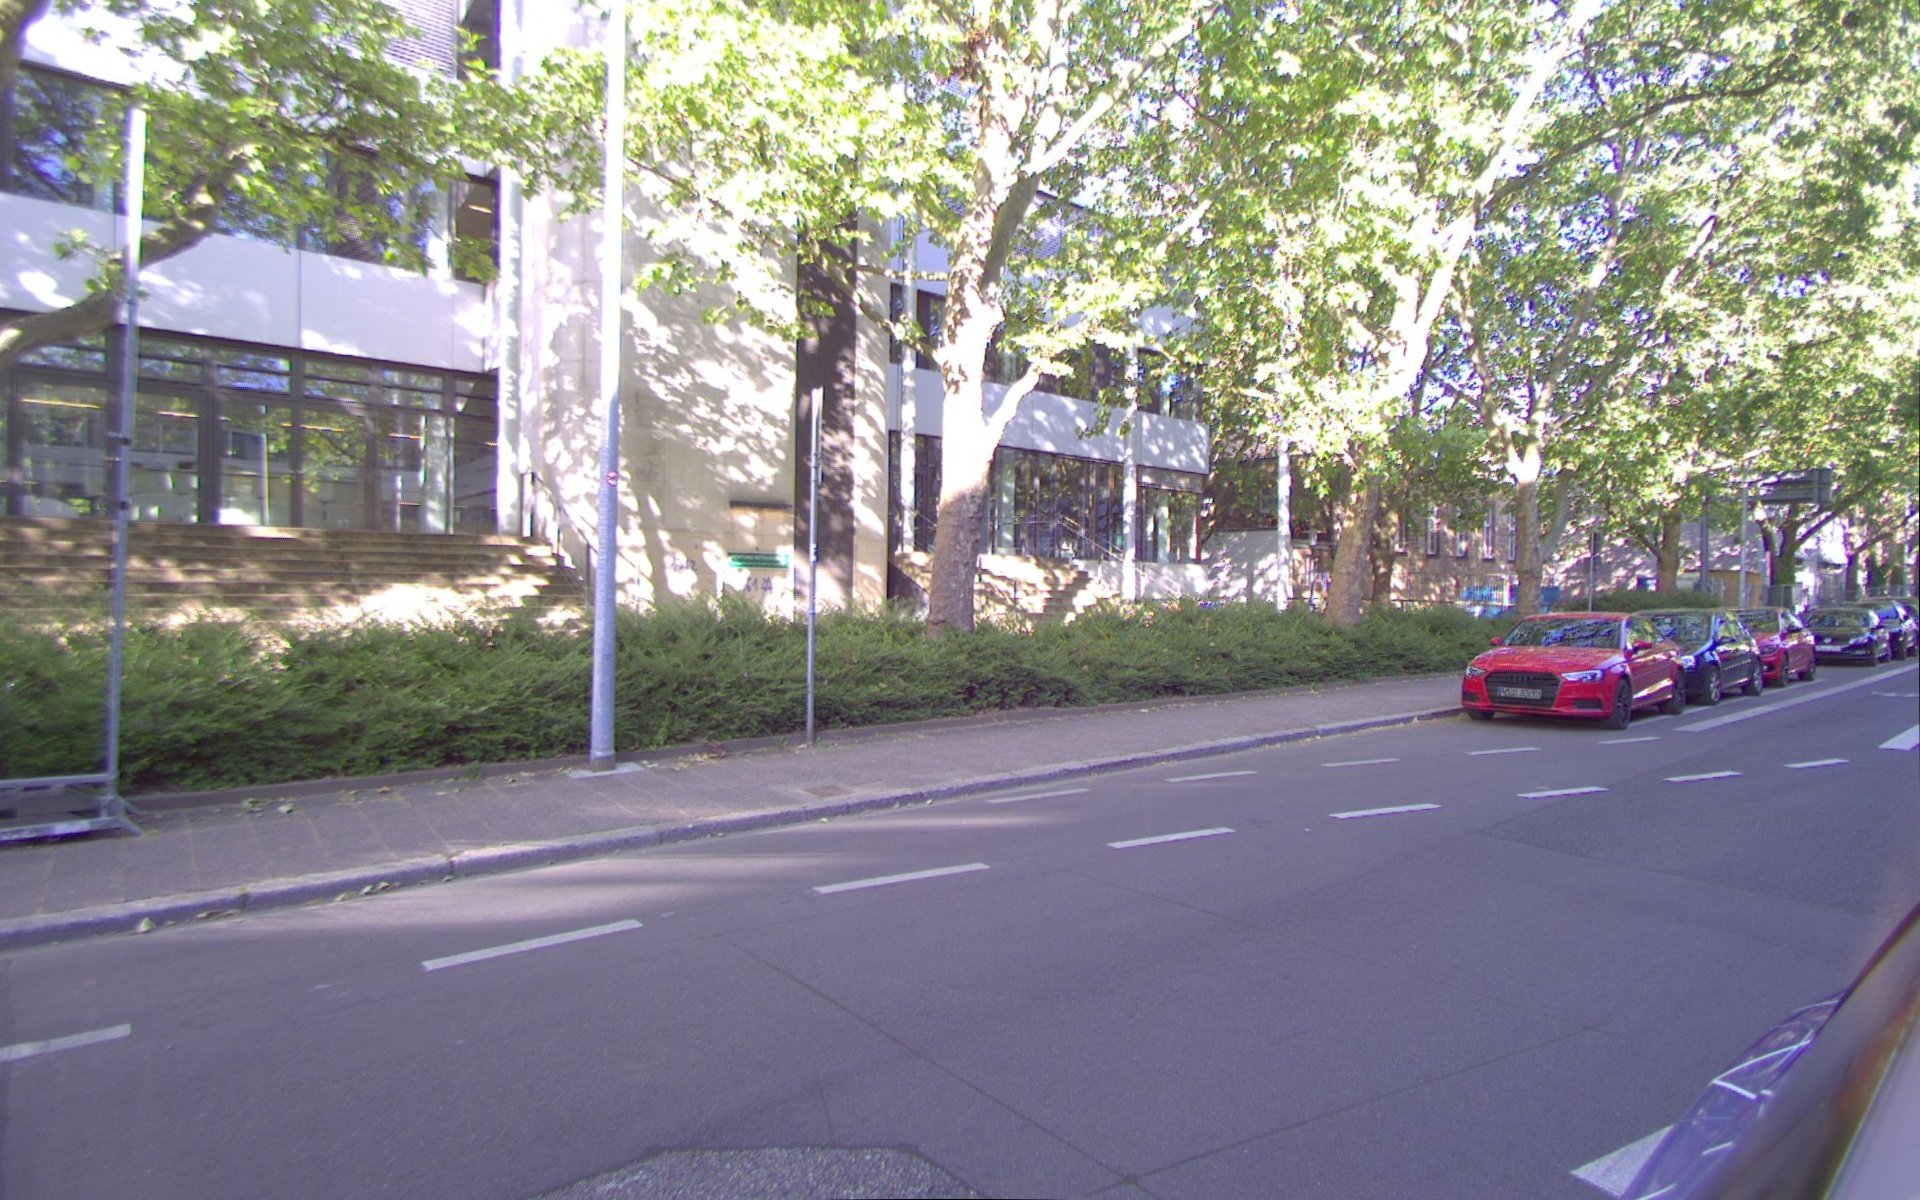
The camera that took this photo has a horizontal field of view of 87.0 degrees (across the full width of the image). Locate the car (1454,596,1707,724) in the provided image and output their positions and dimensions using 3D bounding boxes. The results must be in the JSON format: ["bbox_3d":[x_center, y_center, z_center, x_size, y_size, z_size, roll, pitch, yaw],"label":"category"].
[{"bbox_3d":[8.349,0.678,13.480,4.101,1.443,1.773,0,-1,-42],"label":"car"}]

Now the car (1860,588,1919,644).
[{"bbox_3d":[31.082,0.477,33.045,4.188,1.747,1.997,-1,0,-41],"label":"car"}]

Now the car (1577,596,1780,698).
[{"bbox_3d":[11.972,0.680,16.781,3.929,1.475,1.812,0,1,-40],"label":"car"}]

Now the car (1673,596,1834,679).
[{"bbox_3d":[15.721,0.658,19.987,3.930,1.456,1.789,0,1,-41],"label":"car"}]

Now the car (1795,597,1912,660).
[{"bbox_3d":[22.983,0.677,25.988,3.930,1.456,1.744,0,1,-41],"label":"car"}]

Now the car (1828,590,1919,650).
[{"bbox_3d":[26.647,0.520,29.185,4.158,1.601,1.847,0,1,-41],"label":"car"}]

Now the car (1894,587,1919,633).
[{"bbox_3d":[35.741,0.358,37.066,4.004,1.638,1.797,0,1,-41],"label":"car"}]
